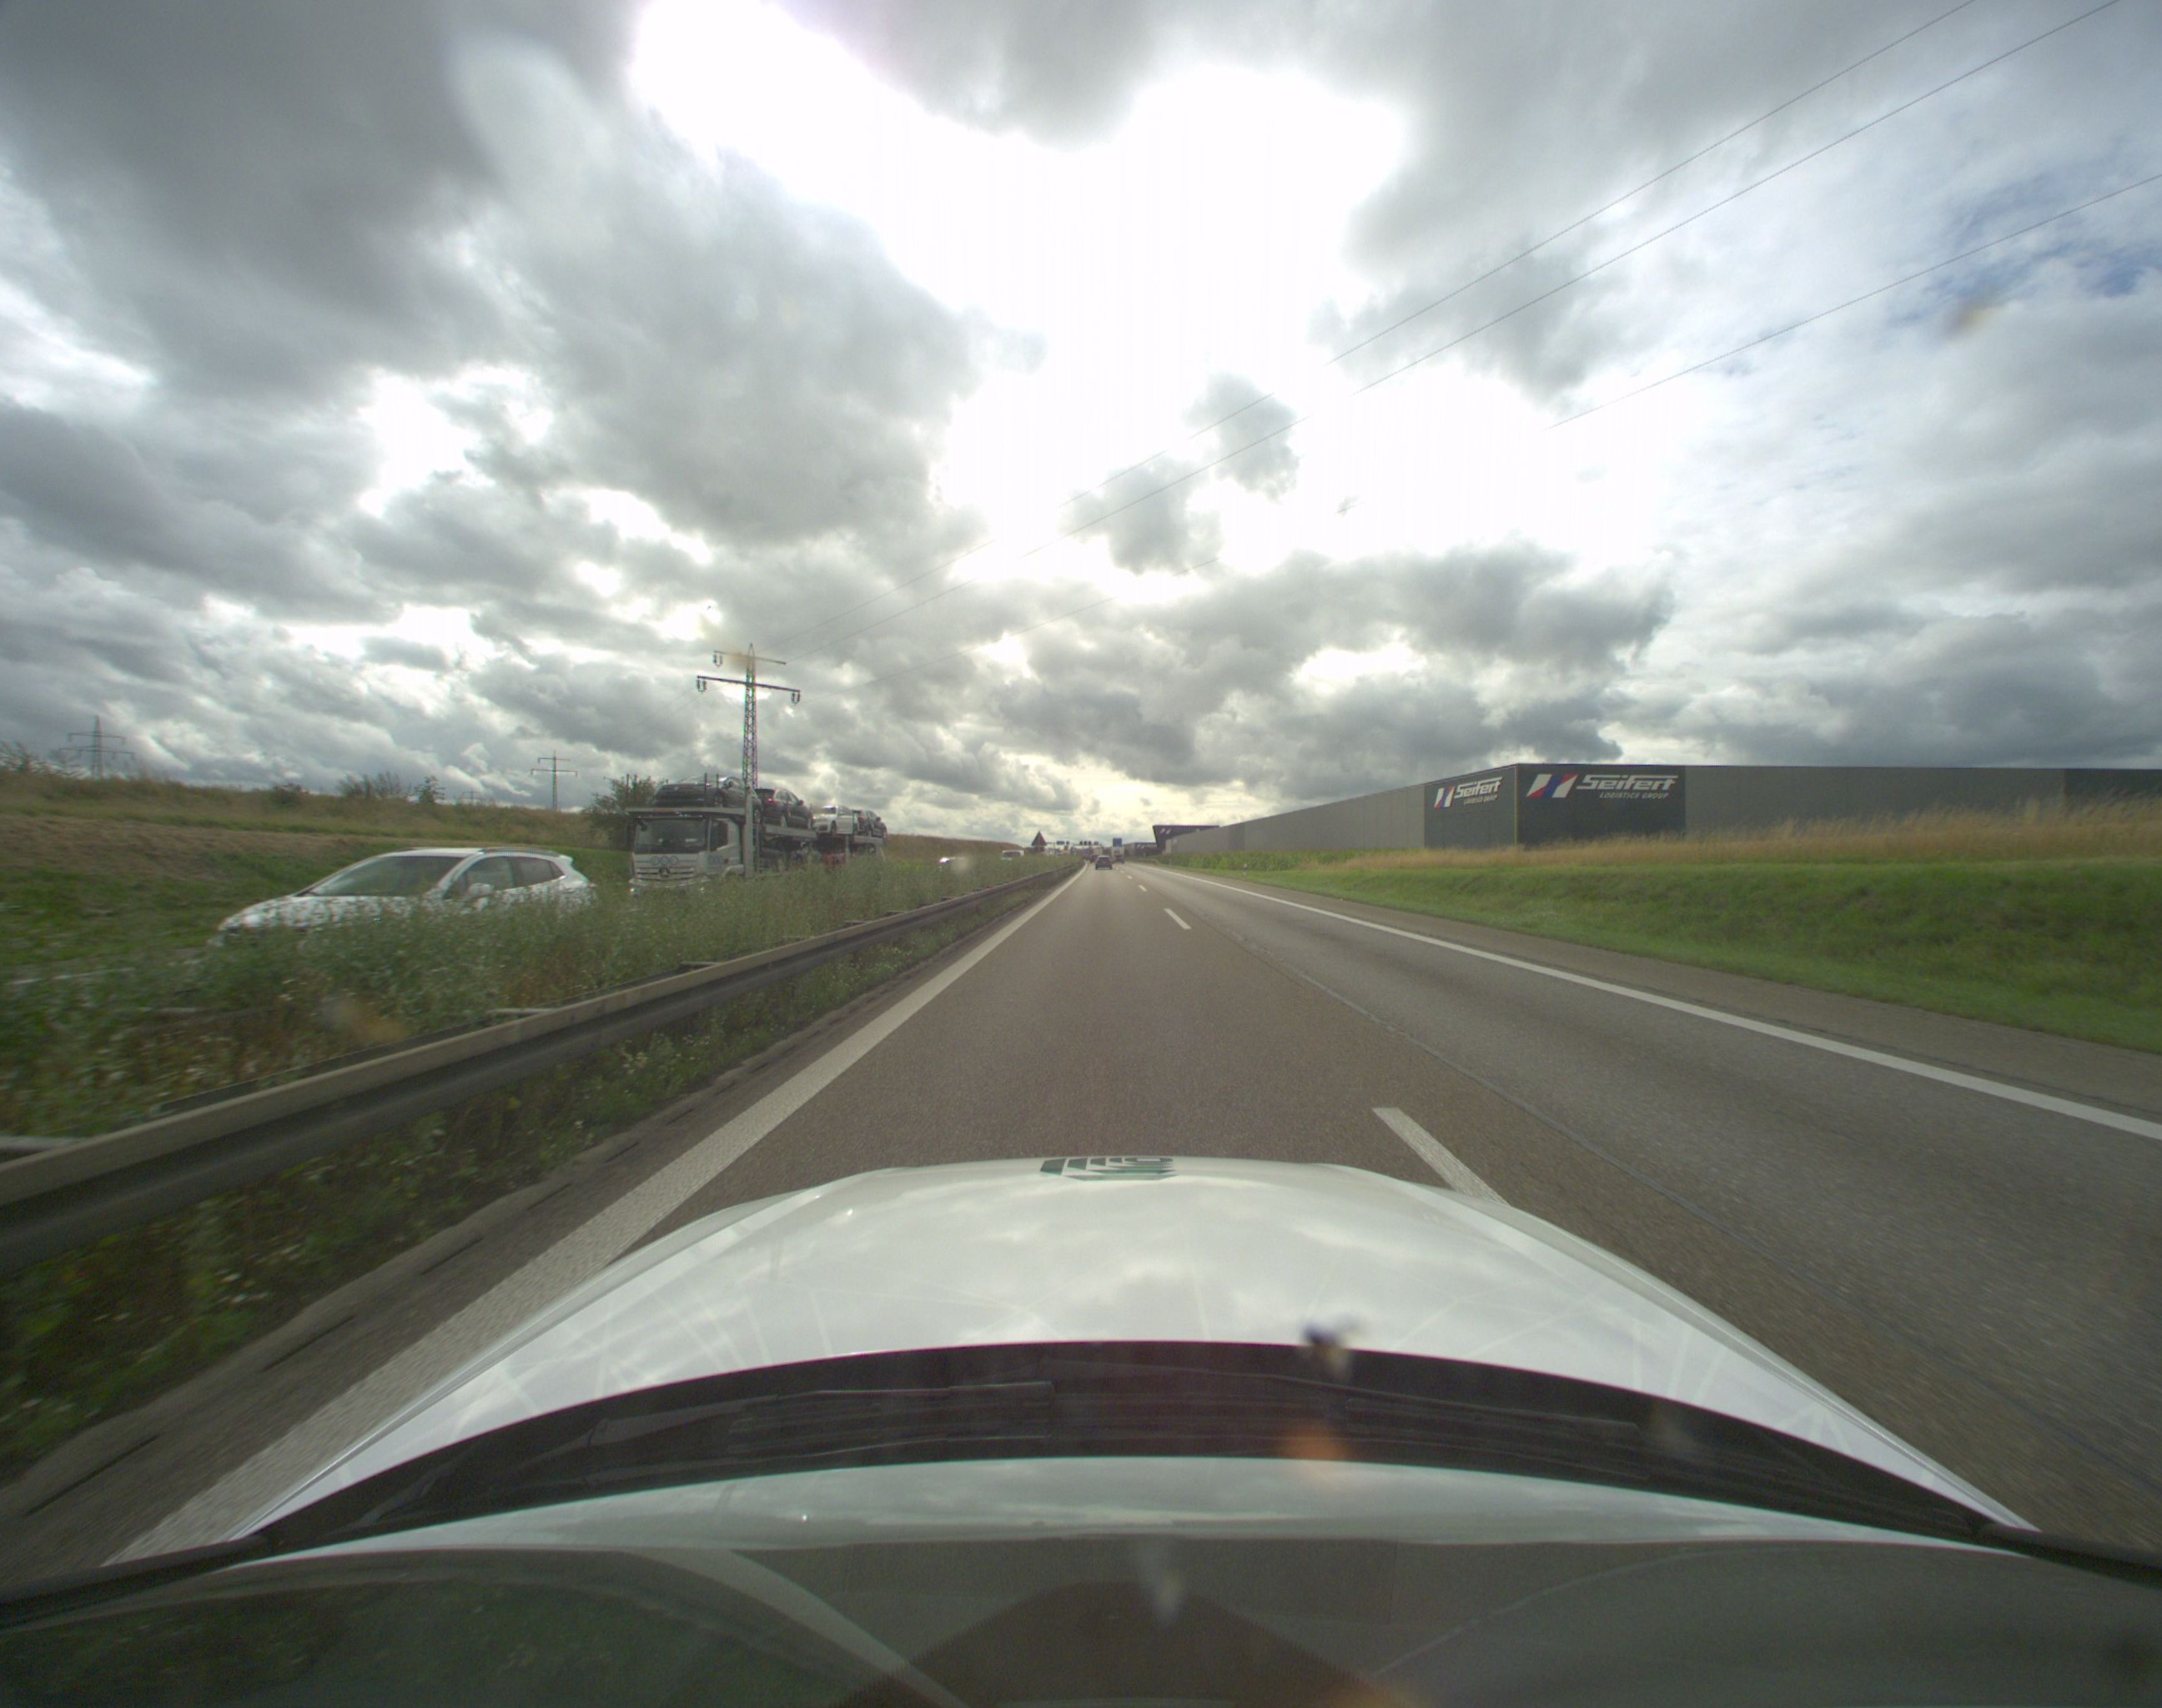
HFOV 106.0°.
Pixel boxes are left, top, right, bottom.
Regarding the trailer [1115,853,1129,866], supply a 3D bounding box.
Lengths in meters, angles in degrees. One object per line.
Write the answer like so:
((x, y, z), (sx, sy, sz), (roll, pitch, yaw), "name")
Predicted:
((7.146, 0.943, 142.170), (2.331, 2.136, 3.999), (0, -1, 0), "trailer")

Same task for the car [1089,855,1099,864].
((2.431, 1.077, 153.324), (1.939, 1.685, 3.999), (0, -1, 0), "car")

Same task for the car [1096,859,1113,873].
((2.475, 1.243, 87.311), (1.741, 1.453, 3.999), (0, 0, 0), "car")

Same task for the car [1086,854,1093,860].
((2.618, 0.758, 241.371), (1.936, 1.775, 3.697), (0, -1, 1), "car")

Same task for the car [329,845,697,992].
((-7.500, 0.751, 11.443), (1.985, 1.662, 4.304), (0, 0, 3), "car")

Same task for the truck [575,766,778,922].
((-11.463, -0.254, 23.810), (2.713, 3.936, 5.989), (-1, 0, 2), "truck")

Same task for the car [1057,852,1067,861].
((-4.282, 0.507, 187.572), (1.986, 2.014, 5.532), (0, 0, 1), "car")

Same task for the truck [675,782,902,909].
((-11.124, -0.260, 34.374), (2.713, 3.936, 17.409), (-1, 0, 2), "truck")

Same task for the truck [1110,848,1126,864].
((6.810, 0.378, 149.015), (2.476, 2.950, 5.809), (0, -1, -2), "truck")
